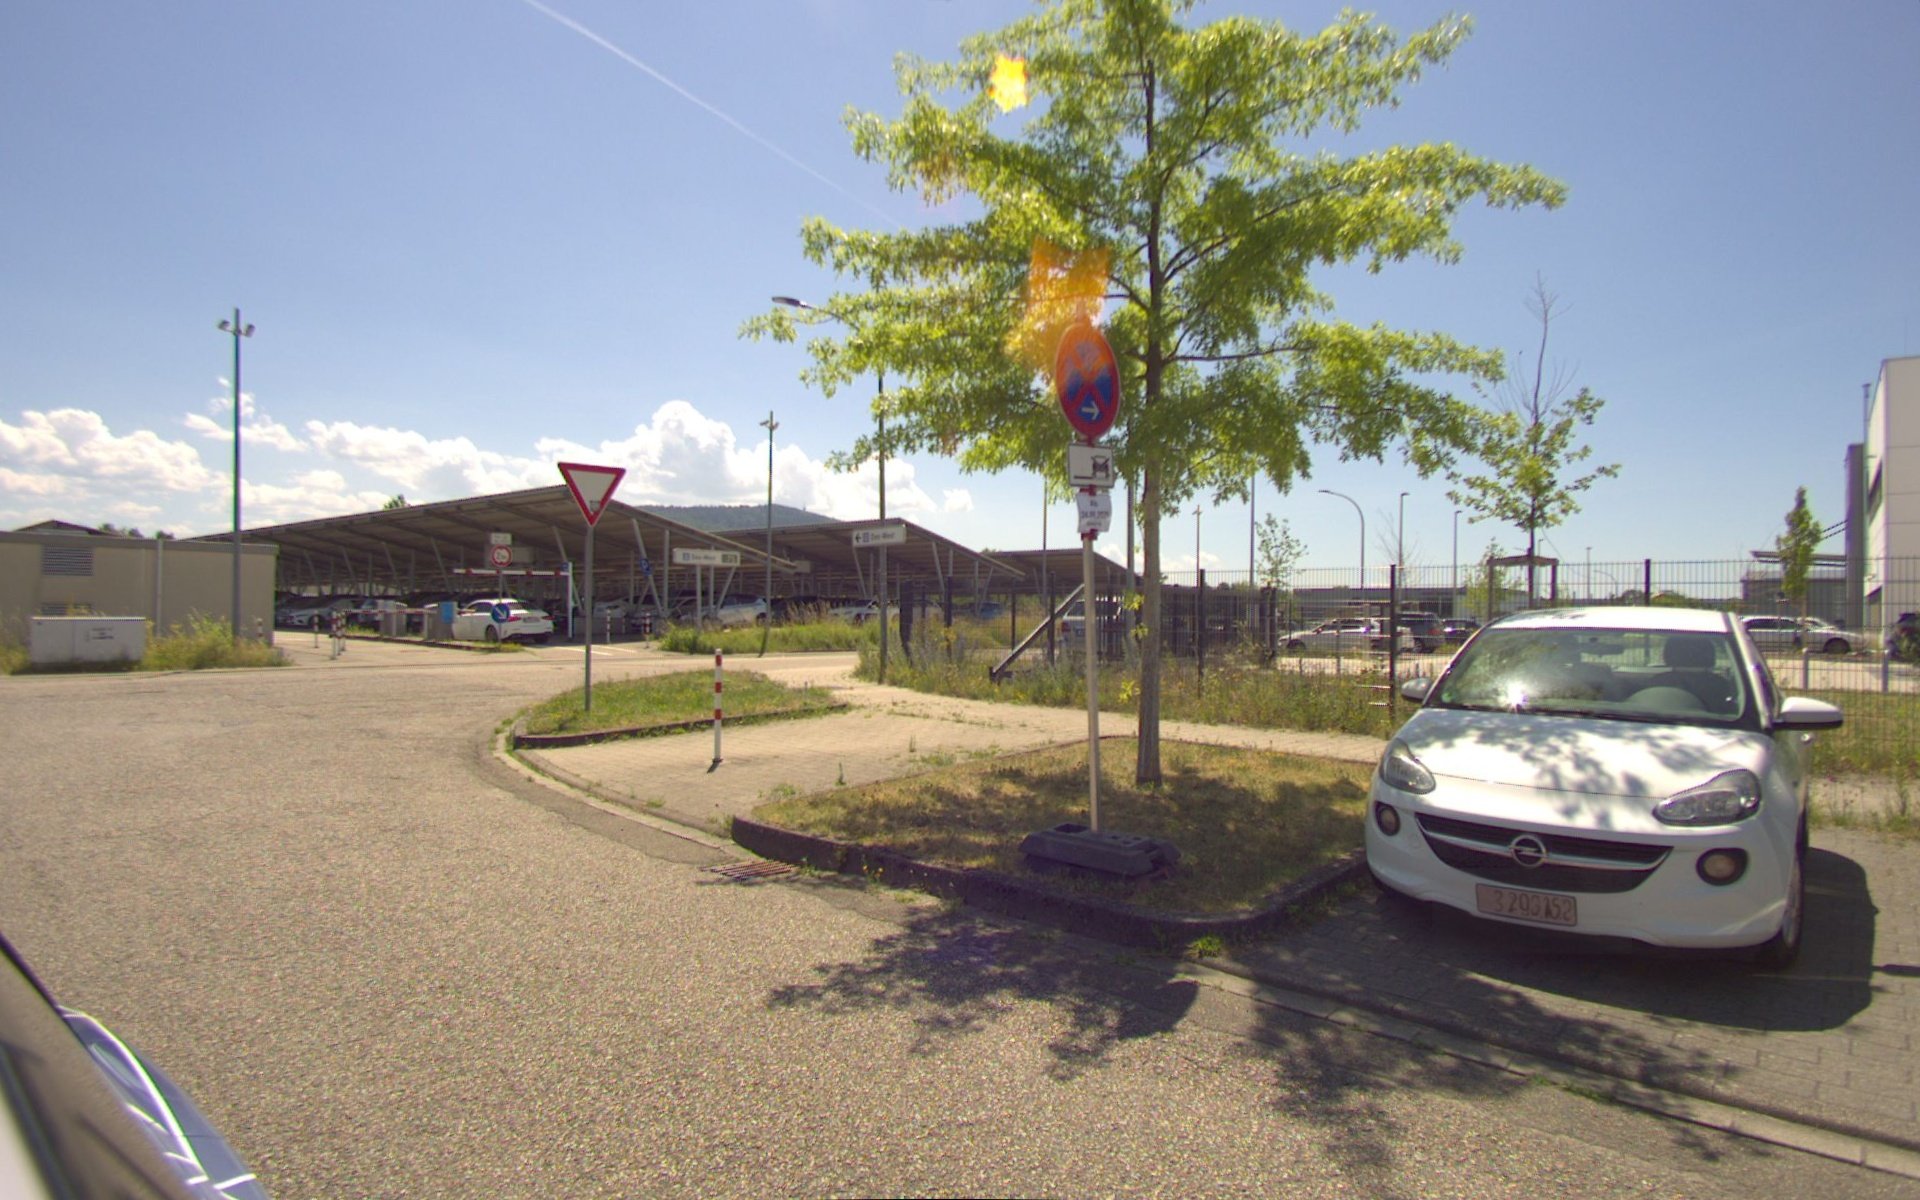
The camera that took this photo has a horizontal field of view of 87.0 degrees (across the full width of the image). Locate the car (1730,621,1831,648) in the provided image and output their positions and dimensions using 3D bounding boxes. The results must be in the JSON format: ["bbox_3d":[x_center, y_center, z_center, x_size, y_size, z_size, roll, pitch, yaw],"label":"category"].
[{"bbox_3d":[44.076,1.822,54.422,4.162,1.349,1.757,-1,-2,41],"label":"car"}]

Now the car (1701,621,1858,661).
[{"bbox_3d":[29.681,1.447,36.769,4.336,1.349,1.757,-1,-2,41],"label":"car"}]

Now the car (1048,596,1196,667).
[{"bbox_3d":[3.756,0.705,23.106,1.722,1.475,3.632,-1,-2,40],"label":"car"}]

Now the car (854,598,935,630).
[{"bbox_3d":[-2.990,0.660,46.655,1.721,1.447,3.728,-1,-2,38],"label":"car"}]

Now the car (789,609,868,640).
[{"bbox_3d":[-6.440,1.201,49.906,1.721,1.447,3.728,-1,-2,38],"label":"car"}]

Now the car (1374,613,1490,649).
[{"bbox_3d":[21.009,1.338,45.111,4.402,1.526,1.676,0,-1,42],"label":"car"}]

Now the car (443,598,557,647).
[{"bbox_3d":[-14.498,0.694,31.832,3.771,1.447,1.701,0,-2,38],"label":"car"}]

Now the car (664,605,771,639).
[{"bbox_3d":[-9.186,0.851,38.597,1.721,1.237,3.728,-1,-2,38],"label":"car"}]

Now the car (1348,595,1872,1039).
[{"bbox_3d":[3.525,0.725,5.265,1.727,1.452,3.468,-1,0,41],"label":"car"}]

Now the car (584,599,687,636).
[{"bbox_3d":[-13.369,0.743,41.875,1.721,1.447,3.728,-1,-2,38],"label":"car"}]

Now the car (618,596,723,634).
[{"bbox_3d":[-11.474,0.606,40.317,1.721,1.447,3.728,-1,-2,38],"label":"car"}]

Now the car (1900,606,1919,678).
[{"bbox_3d":[24.395,0.993,23.258,3.998,1.697,1.757,-1,-2,41],"label":"car"}]

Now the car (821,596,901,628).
[{"bbox_3d":[-4.684,0.593,48.430,1.721,1.447,3.728,-1,-2,38],"label":"car"}]

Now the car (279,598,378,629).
[{"bbox_3d":[-30.825,0.692,49.475,1.721,1.447,3.728,-1,-2,38],"label":"car"}]
